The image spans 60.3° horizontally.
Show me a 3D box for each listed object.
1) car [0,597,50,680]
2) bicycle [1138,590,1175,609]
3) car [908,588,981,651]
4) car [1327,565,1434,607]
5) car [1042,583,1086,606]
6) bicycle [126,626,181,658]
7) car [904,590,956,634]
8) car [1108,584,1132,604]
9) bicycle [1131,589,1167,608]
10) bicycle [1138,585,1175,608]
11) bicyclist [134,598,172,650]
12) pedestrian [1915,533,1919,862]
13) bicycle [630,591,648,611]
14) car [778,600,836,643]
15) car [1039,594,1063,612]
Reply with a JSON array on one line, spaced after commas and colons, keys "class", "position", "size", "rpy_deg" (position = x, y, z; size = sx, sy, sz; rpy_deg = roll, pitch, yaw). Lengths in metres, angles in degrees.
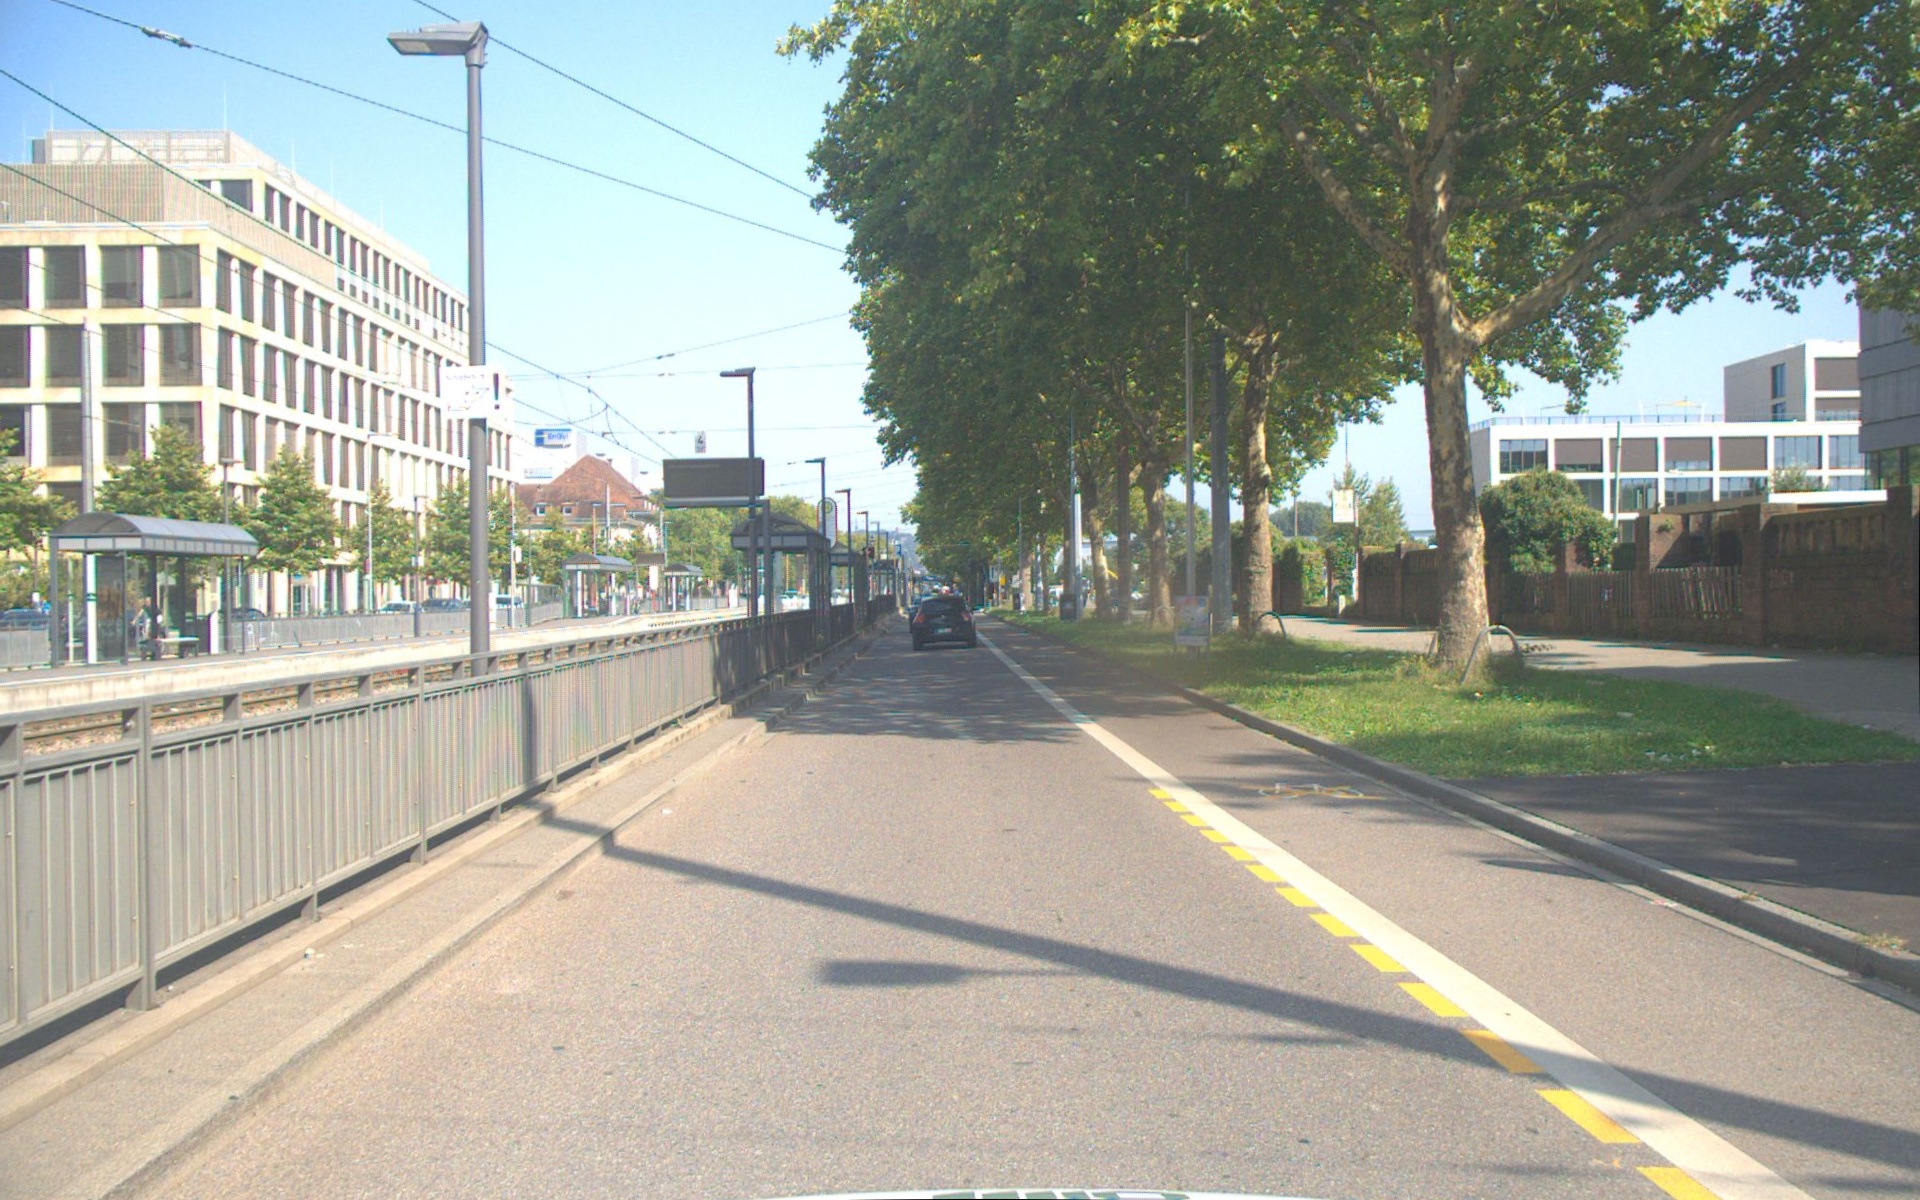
[{"class": "car", "position": [-19.394, 0.771, 31.855], "size": [1.628, 1.598, 3.759], "rpy_deg": [-1, 0, 0]}, {"class": "bicycle", "position": [11.983, -0.005, 100.755], "size": [2.130, 1.095, 0.743], "rpy_deg": [-1, 0, -3]}, {"class": "car", "position": [-0.470, 0.513, 46.186], "size": [1.869, 1.564, 3.999], "rpy_deg": [-3, 0, -2]}, {"class": "car", "position": [19.411, -0.654, 76.469], "size": [4.431, 1.764, 1.908], "rpy_deg": [-2, 0, -3]}, {"class": "car", "position": [9.620, -0.537, 153.230], "size": [4.018, 1.952, 1.848], "rpy_deg": [-3, 0, 2]}, {"class": "bicycle", "position": [-22.953, 1.184, 47.099], "size": [0.616, 0.836, 1.897], "rpy_deg": [-4, -1, -1]}, {"class": "car", "position": [-1.228, 0.467, 66.588], "size": [1.934, 1.564, 3.999], "rpy_deg": [-5, 0, -2]}, {"class": "car", "position": [13.636, -0.513, 141.131], "size": [1.575, 1.603, 3.796], "rpy_deg": [-2, 0, -1]}, {"class": "bicycle", "position": [11.842, -0.087, 103.780], "size": [2.128, 1.095, 0.743], "rpy_deg": [-4, 0, 3]}, {"class": "bicycle", "position": [12.495, -0.230, 105.290], "size": [2.199, 1.299, 0.998], "rpy_deg": [-3, -1, -2]}, {"class": "bicyclist", "position": [-22.986, 0.681, 47.131], "size": [0.616, 1.426, 0.784], "rpy_deg": [-4, -1, -2]}, {"class": "pedestrian", "position": [5.028, 0.499, 7.562], "size": [0.863, 1.654, 0.823], "rpy_deg": [-1, 0, 5]}, {"class": "bicycle", "position": [-18.556, 0.065, 95.629], "size": [0.461, 1.167, 1.485], "rpy_deg": [-1, 0, 14]}, {"class": "car", "position": [-6.105, 0.845, 66.435], "size": [1.953, 1.586, 3.999], "rpy_deg": [-1, 0, -1]}, {"class": "car", "position": [7.696, 0.256, 139.829], "size": [1.693, 1.474, 4.550], "rpy_deg": [-2, 0, -1]}]
